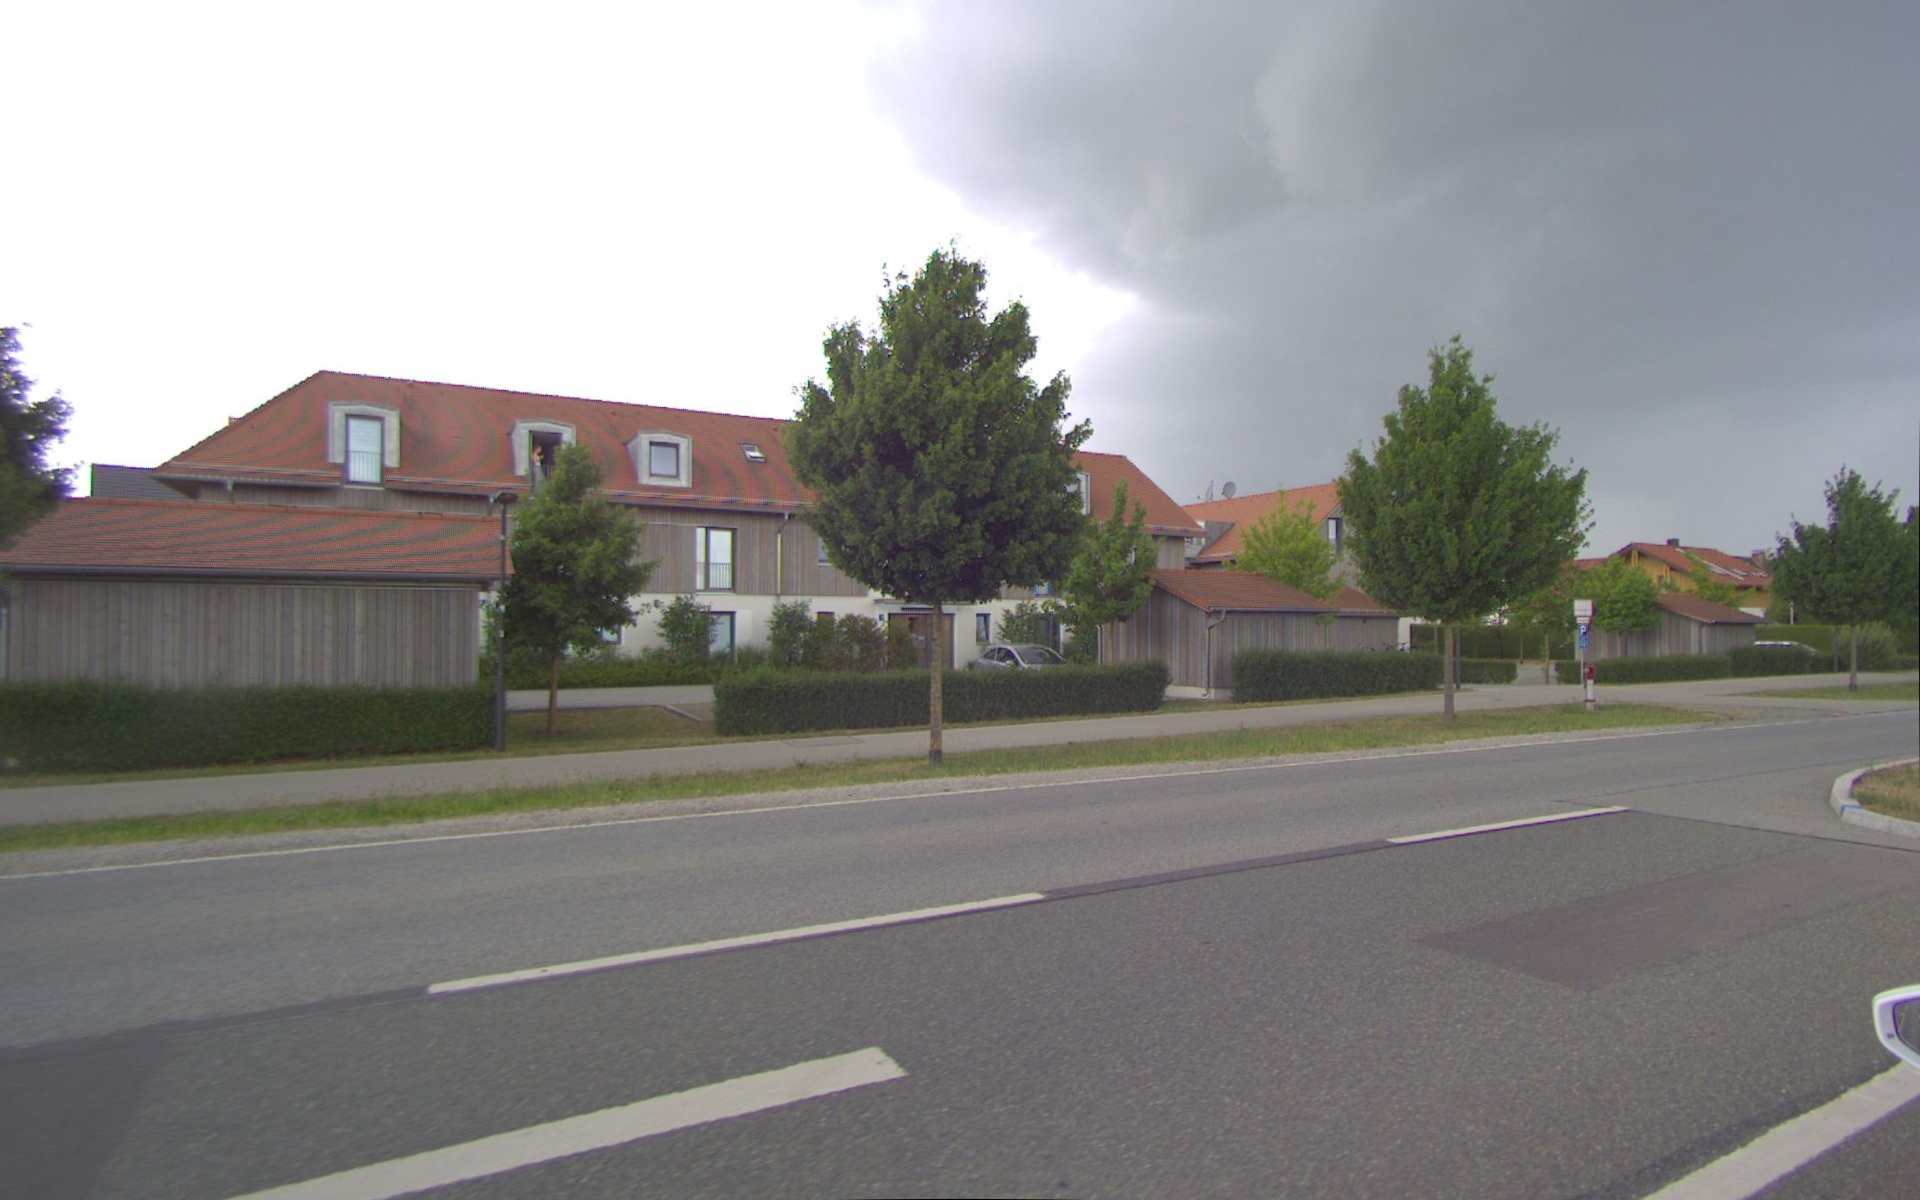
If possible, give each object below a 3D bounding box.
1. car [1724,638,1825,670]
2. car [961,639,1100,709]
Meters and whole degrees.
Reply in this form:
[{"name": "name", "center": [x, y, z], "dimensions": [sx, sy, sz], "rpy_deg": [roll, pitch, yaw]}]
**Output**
[{"name": "car", "center": [40.921, 2.699, 50.514], "dimensions": [1.641, 1.549, 3.571], "rpy_deg": [1, -3, -33]}, {"name": "car", "center": [1.834, 1.931, 27.255], "dimensions": [1.975, 1.577, 3.971], "rpy_deg": [1, 0, -28]}]
